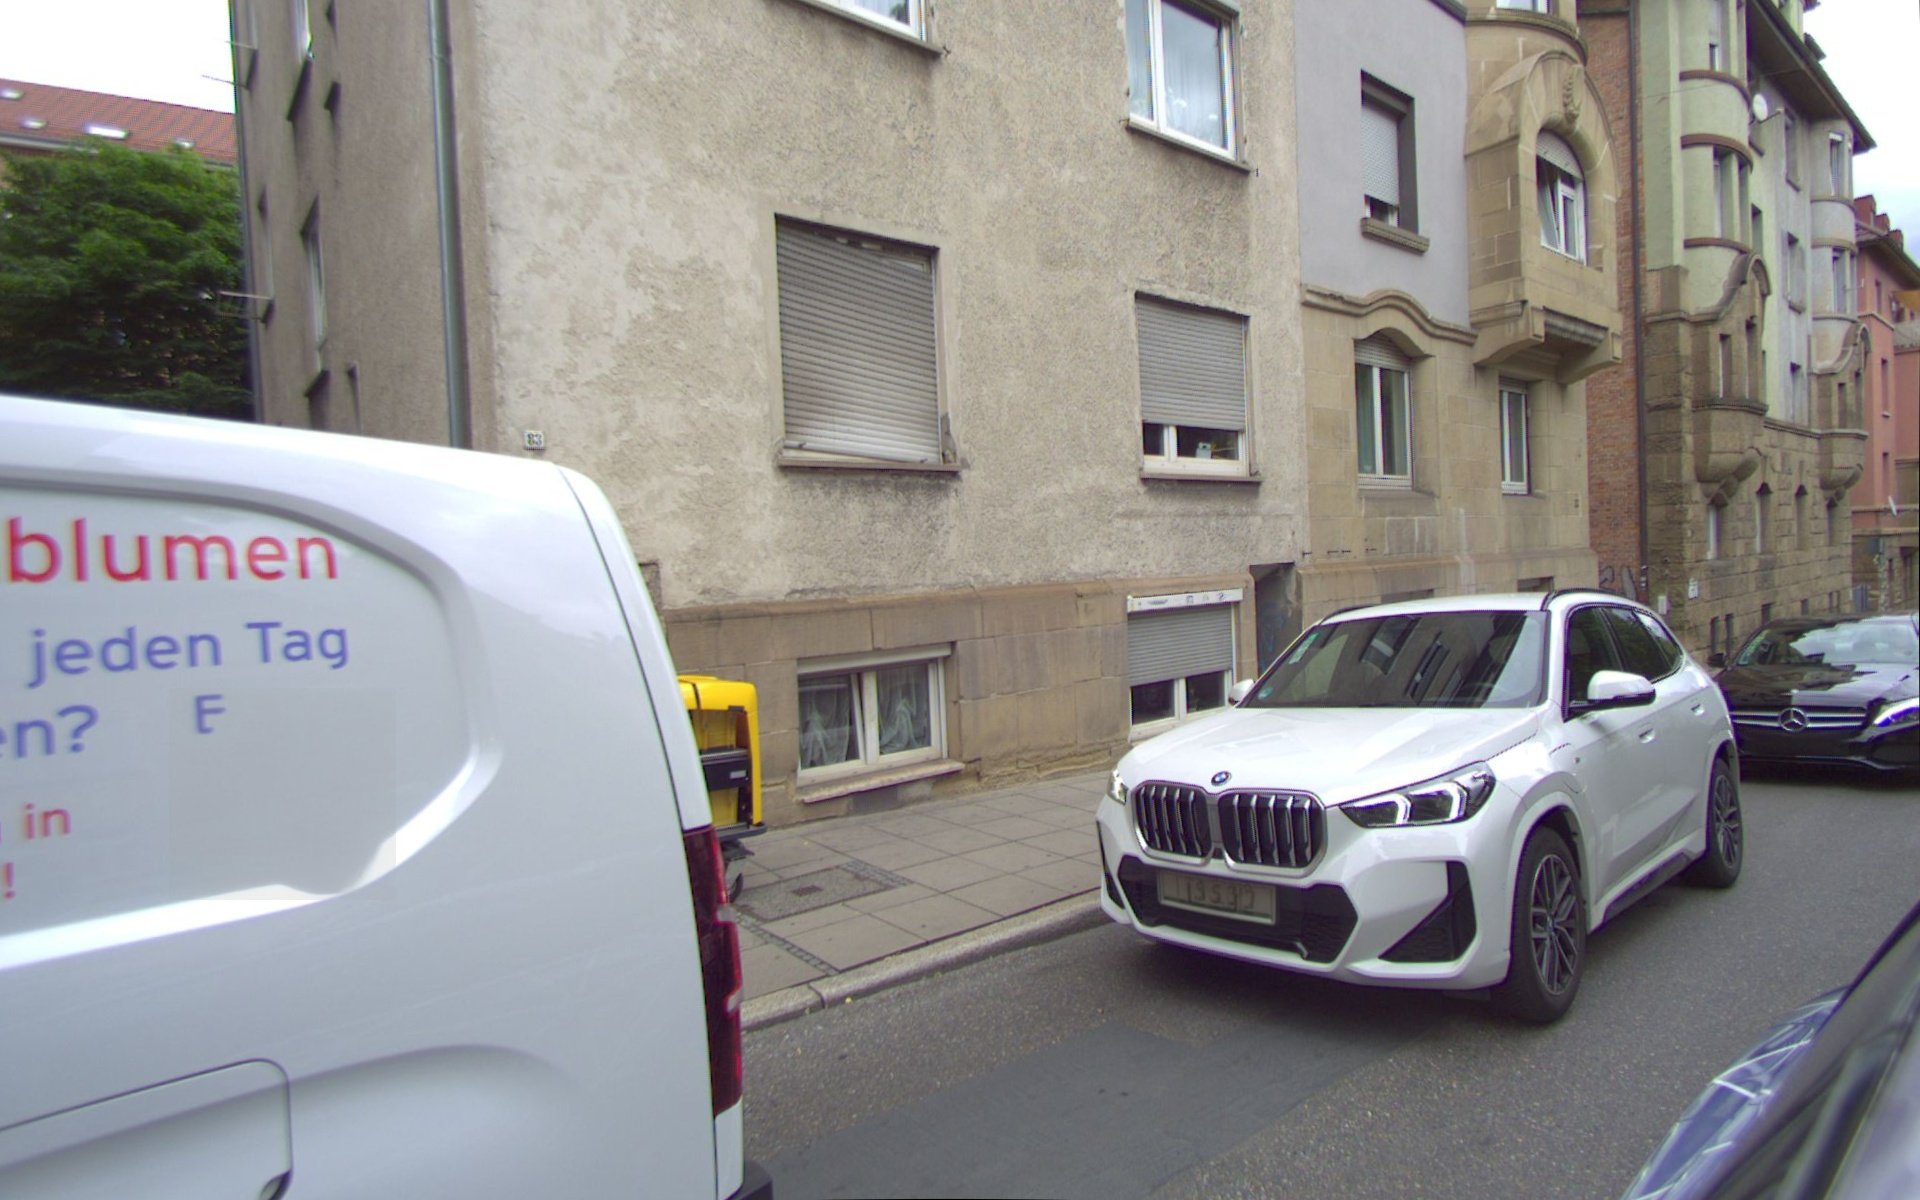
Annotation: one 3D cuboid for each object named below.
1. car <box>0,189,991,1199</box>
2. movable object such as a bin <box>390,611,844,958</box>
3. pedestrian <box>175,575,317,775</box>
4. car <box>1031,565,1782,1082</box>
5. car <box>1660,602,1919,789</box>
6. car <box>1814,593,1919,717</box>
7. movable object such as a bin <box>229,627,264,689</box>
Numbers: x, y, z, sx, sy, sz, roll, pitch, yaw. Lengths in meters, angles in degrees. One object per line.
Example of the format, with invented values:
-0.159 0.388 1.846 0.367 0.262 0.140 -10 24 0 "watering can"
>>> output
-2.315 0.577 0.915 4.597 1.798 1.977 -1 -3 -42 "car"
-1.783 0.792 5.400 1.979 1.391 1.223 -1 2 -43 "movable object such as a bin"
-6.523 0.641 9.255 0.808 1.666 0.773 0 6 42 "pedestrian"
2.563 0.720 5.239 4.276 1.576 1.857 -1 -4 -42 "car"
8.432 0.763 9.616 4.132 1.395 1.882 -1 -3 -41 "car"
13.530 0.658 13.910 4.226 1.534 1.935 -1 -3 -40 "car"
-10.987 0.881 15.586 0.405 0.923 0.340 0 0 -40 "movable object such as a bin"
